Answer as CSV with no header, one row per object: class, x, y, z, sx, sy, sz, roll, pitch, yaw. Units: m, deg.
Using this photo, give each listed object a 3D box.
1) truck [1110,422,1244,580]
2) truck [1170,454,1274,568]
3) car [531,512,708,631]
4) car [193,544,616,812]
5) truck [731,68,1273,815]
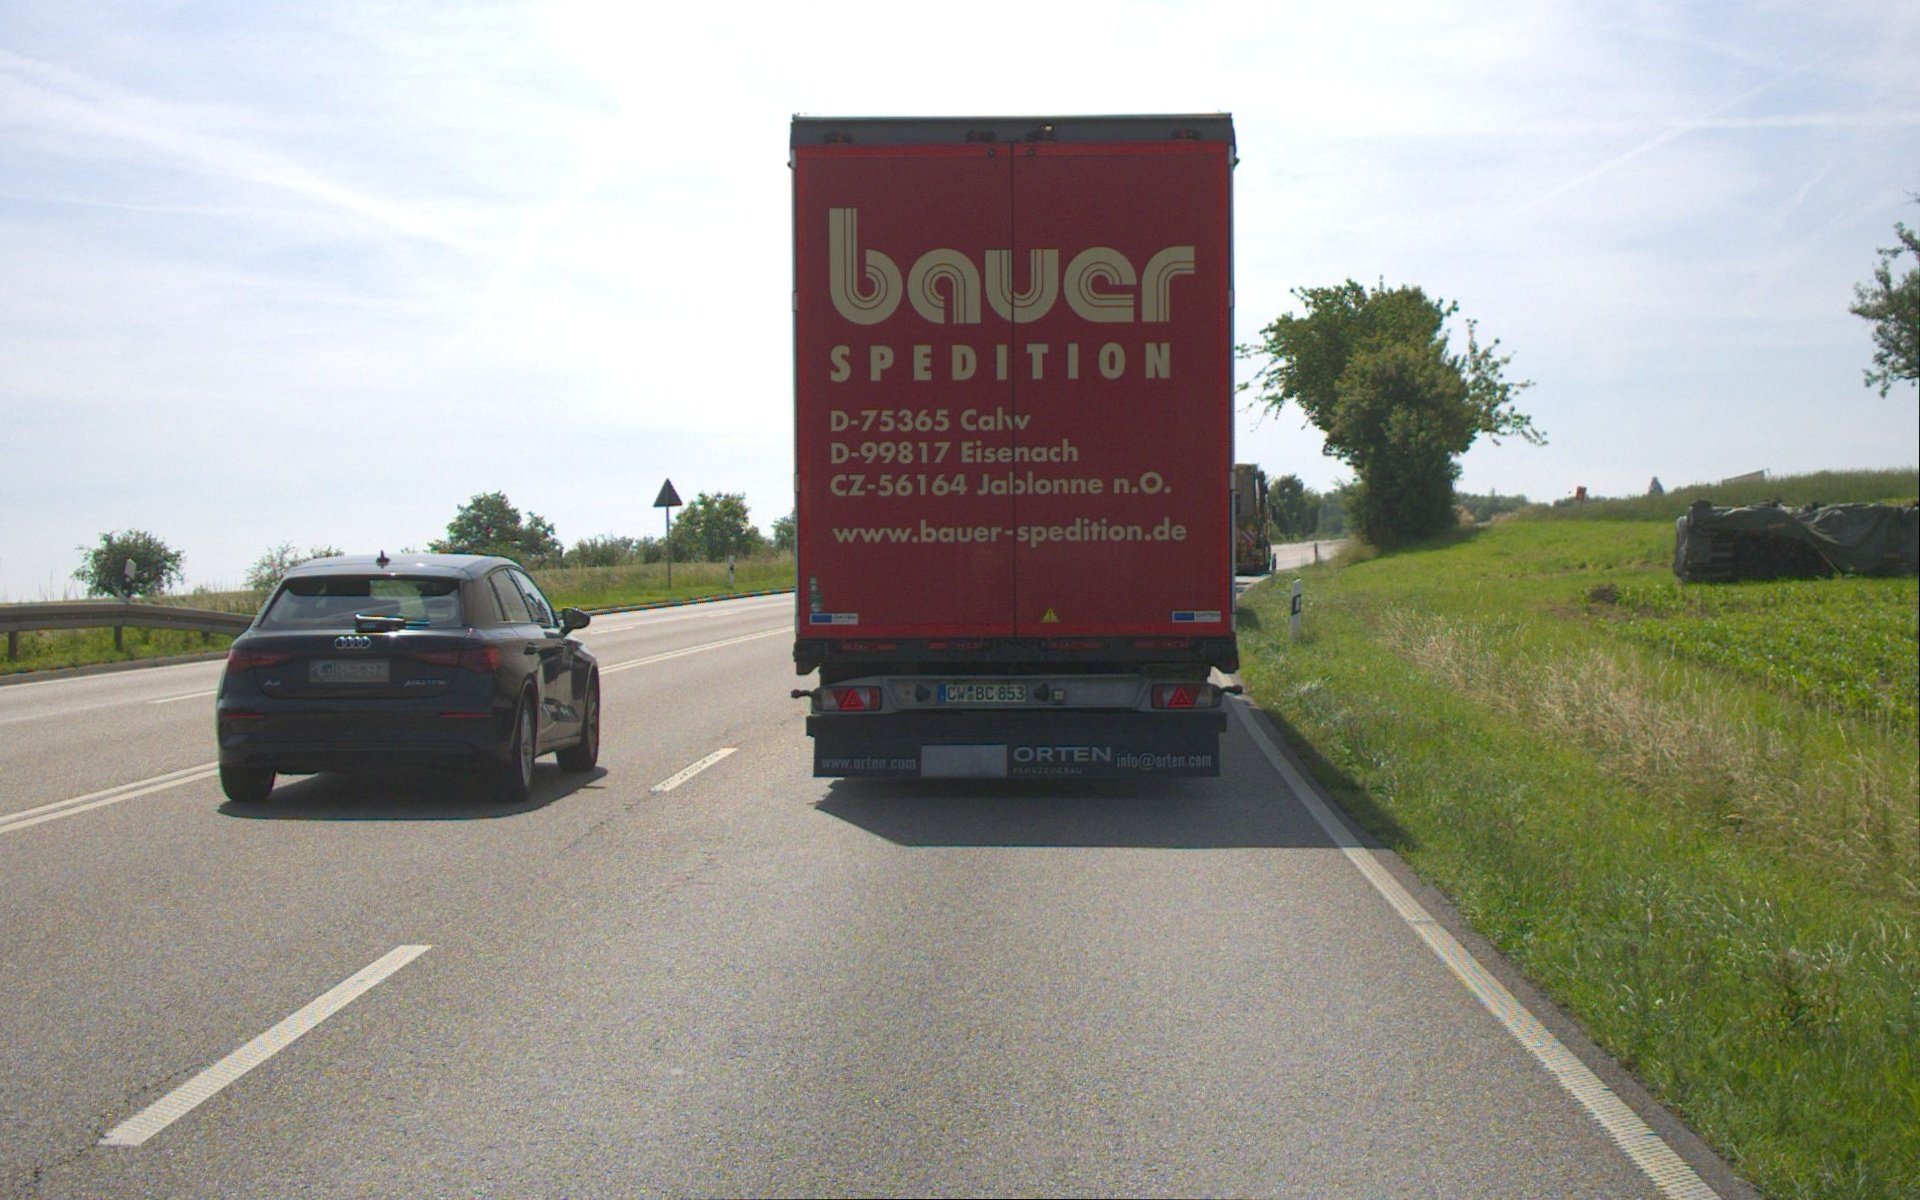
truck,6.058,-2.624,93.550,3.047,3.897,15.613,-1,1,6
truck,9.837,-3.231,127.131,3.048,3.897,18.393,-1,1,7
car,-5.596,-0.492,57.198,1.906,1.878,5.431,1,1,5
car,-3.292,0.387,21.275,1.705,1.467,4.811,0,1,2
truck,0.393,-1.030,27.651,3.007,4.165,16.714,1,1,1
